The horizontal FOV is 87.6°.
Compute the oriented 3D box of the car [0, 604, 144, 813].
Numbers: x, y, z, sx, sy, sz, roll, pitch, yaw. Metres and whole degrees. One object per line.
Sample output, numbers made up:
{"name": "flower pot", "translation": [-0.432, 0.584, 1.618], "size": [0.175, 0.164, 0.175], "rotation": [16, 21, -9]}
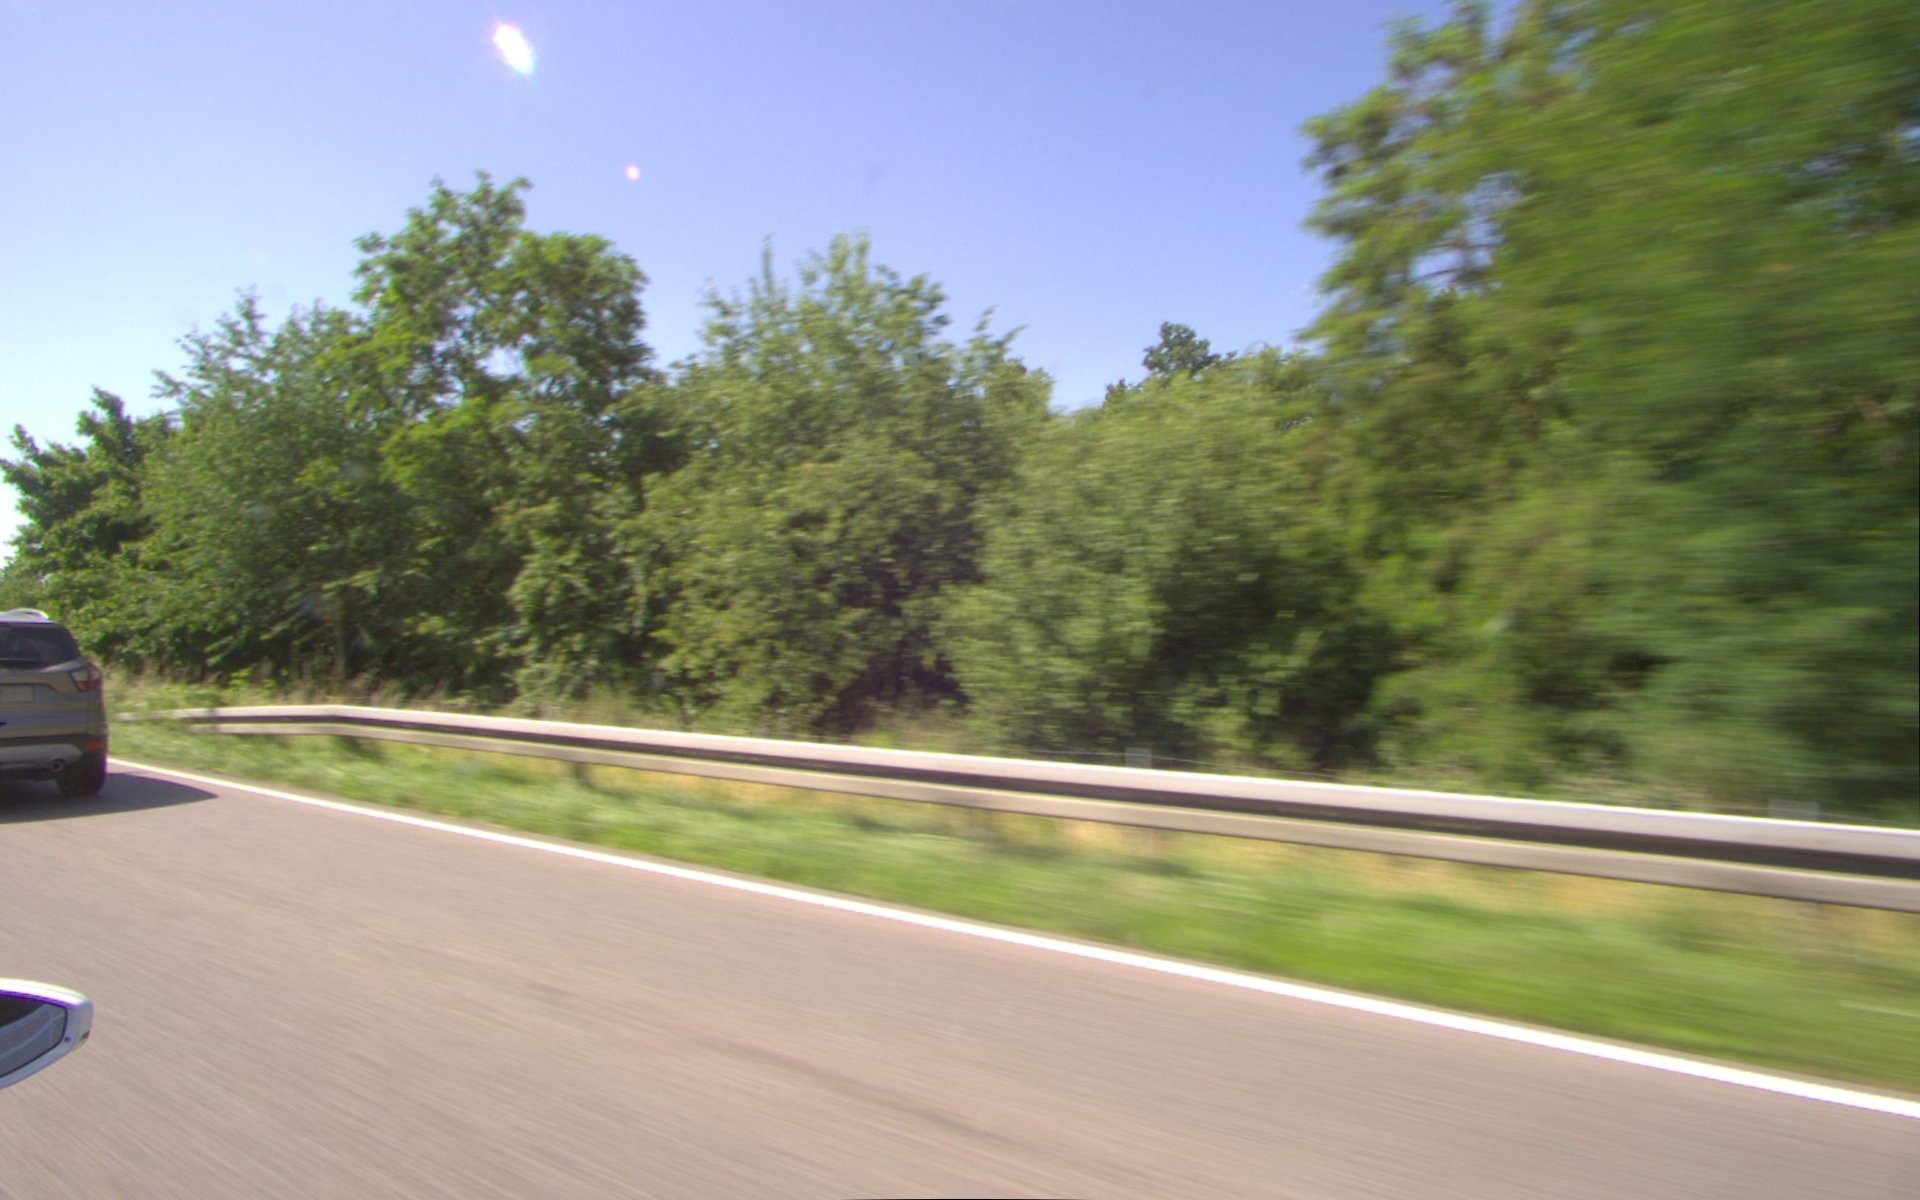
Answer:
{"name": "car", "translation": [-9.657, 0.893, 9.404], "size": [4.602, 1.687, 1.889], "rotation": [0, -1, 35]}
